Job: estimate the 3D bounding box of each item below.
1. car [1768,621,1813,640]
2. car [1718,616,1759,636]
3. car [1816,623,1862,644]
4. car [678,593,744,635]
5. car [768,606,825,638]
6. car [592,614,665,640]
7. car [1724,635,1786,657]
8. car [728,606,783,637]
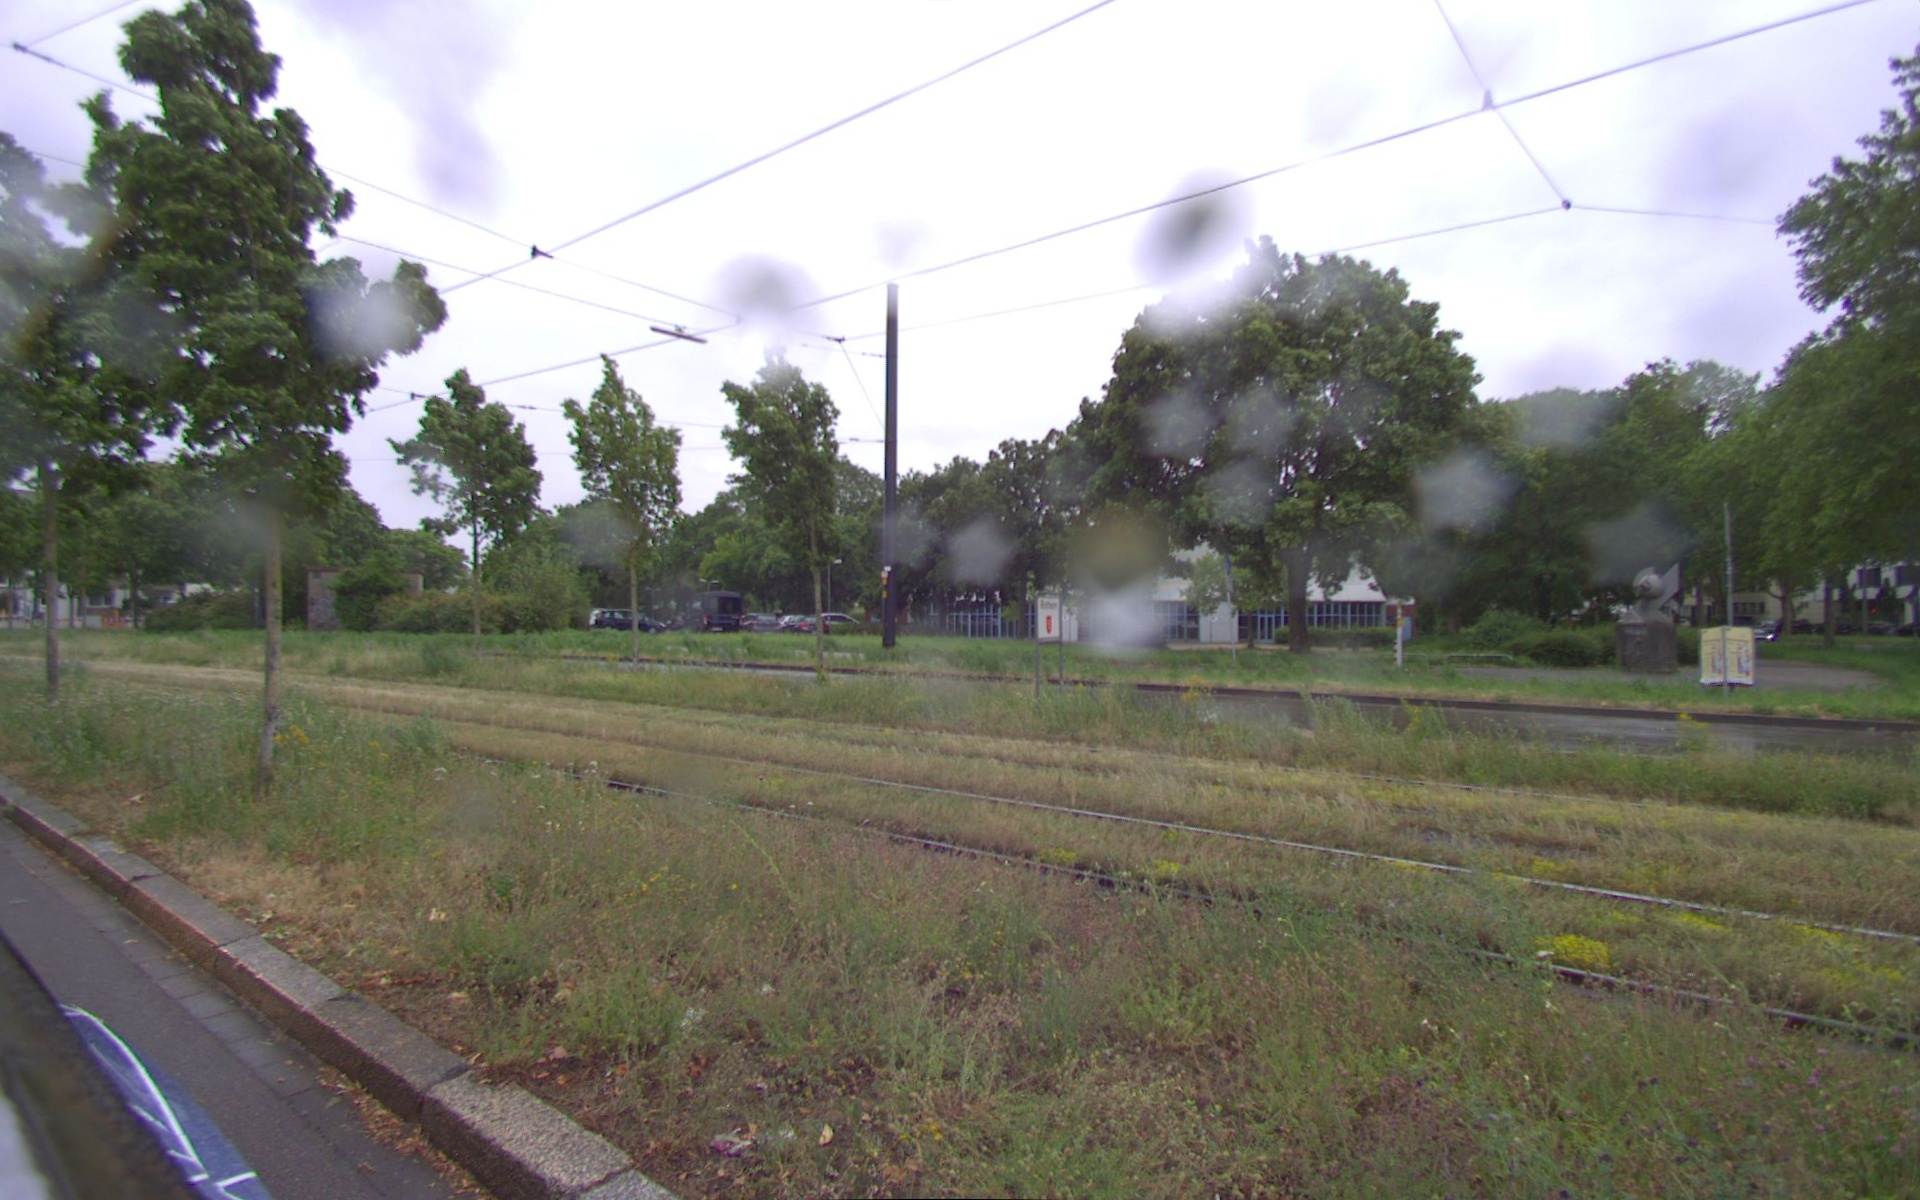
[{"bbox_3d":[82.966,3.021,101.167,1.982,1.796,3.979,-1,0,16],"label":"car"},{"bbox_3d":[86.259,2.830,112.237,2.108,2.104,3.982,-1,0,14],"label":"car"},{"bbox_3d":[81.646,3.101,94.069,1.986,1.796,3.972,-1,0,21],"label":"car"},{"bbox_3d":[-12.840,0.697,51.939,2.273,2.029,5.134,-1,0,-25],"label":"car"},{"bbox_3d":[-8.829,1.146,54.400,2.026,1.584,5.032,-1,0,-21],"label":"car"},{"bbox_3d":[-20.325,1.638,61.962,4.110,1.494,1.789,-1,0,-23],"label":"car"},{"bbox_3d":[54.074,3.131,68.944,1.789,1.412,4.289,-2,-3,17],"label":"car"},{"bbox_3d":[-10.923,1.118,53.712,1.726,1.542,4.865,-1,0,-25],"label":"car"}]
